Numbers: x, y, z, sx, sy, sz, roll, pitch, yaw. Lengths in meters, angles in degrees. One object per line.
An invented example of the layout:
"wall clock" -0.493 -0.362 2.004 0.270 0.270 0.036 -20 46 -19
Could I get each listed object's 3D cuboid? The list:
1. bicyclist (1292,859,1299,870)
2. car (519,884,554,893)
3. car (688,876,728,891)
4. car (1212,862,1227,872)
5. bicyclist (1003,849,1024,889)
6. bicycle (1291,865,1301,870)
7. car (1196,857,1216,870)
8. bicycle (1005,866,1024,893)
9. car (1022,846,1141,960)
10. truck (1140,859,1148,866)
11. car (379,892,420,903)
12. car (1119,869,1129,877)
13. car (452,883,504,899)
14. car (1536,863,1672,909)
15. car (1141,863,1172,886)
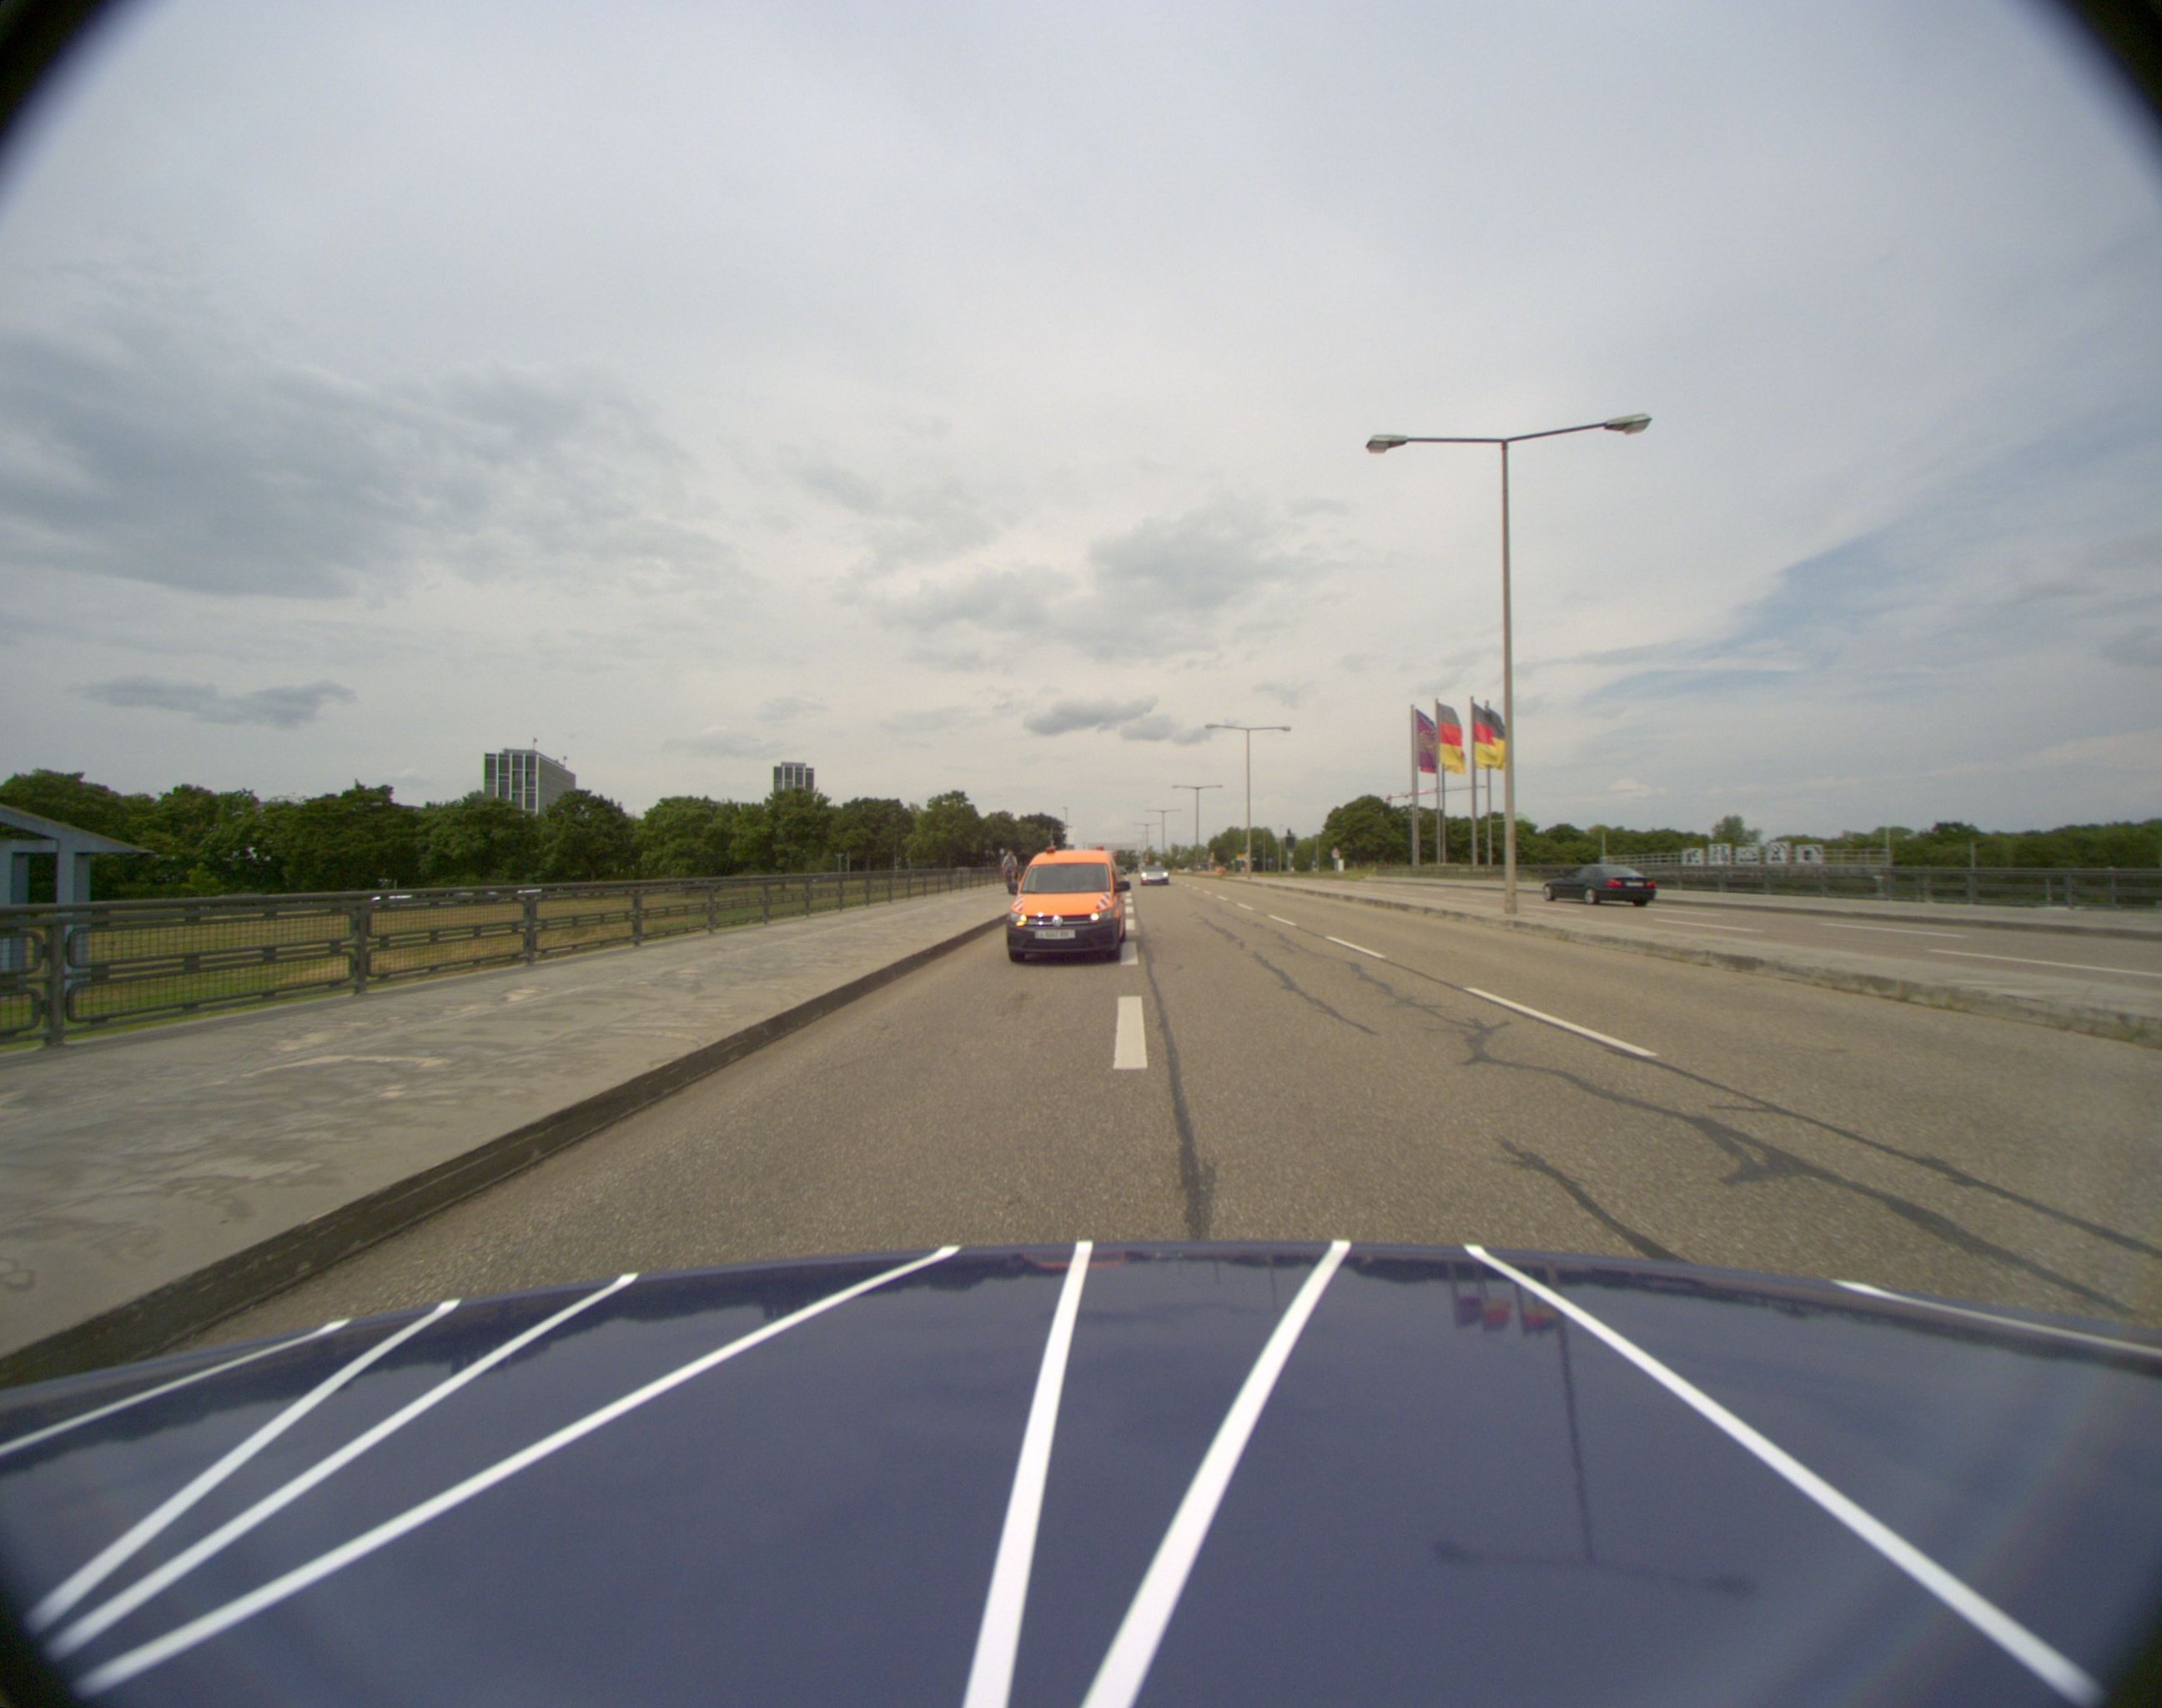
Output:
"bicyclist" 30.729 1.495 108.920 0.820 1.583 0.737 -1 -1 3
"car" -77.241 4.861 107.776 3.687 1.123 1.677 -1 -1 -21
"car" -51.232 4.035 104.398 4.469 2.001 2.000 -1 -1 -1
"car" 21.610 2.084 118.794 1.695 1.484 4.000 1 -1 1
"bicyclist" -3.045 0.681 34.286 0.873 1.791 0.957 1 0 -4
"bicycle" 30.785 1.978 108.898 0.820 0.729 2.222 -1 -1 3
"car" 16.905 1.236 102.687 1.998 1.630 4.663 3 -1 2
"bicycle" -2.996 1.141 34.385 0.815 1.133 1.763 -2 -1 -4
"car" 0.074 0.856 14.739 1.892 1.824 4.431 -2 -1 2
"truck" 17.254 2.378 208.144 1.998 2.001 4.001 -1 -1 2
"car" -90.840 5.776 101.381 3.687 1.264 1.677 -1 -1 -21
"car" 7.037 3.122 124.652 1.558 1.229 3.470 -2 -1 2
"car" -77.785 4.750 98.112 4.909 1.792 1.996 0 -1 -24
"car" 18.065 1.037 26.544 1.997 1.365 4.579 1 0 7
"car" 5.015 1.342 50.863 1.695 1.403 3.684 -2 -1 0
